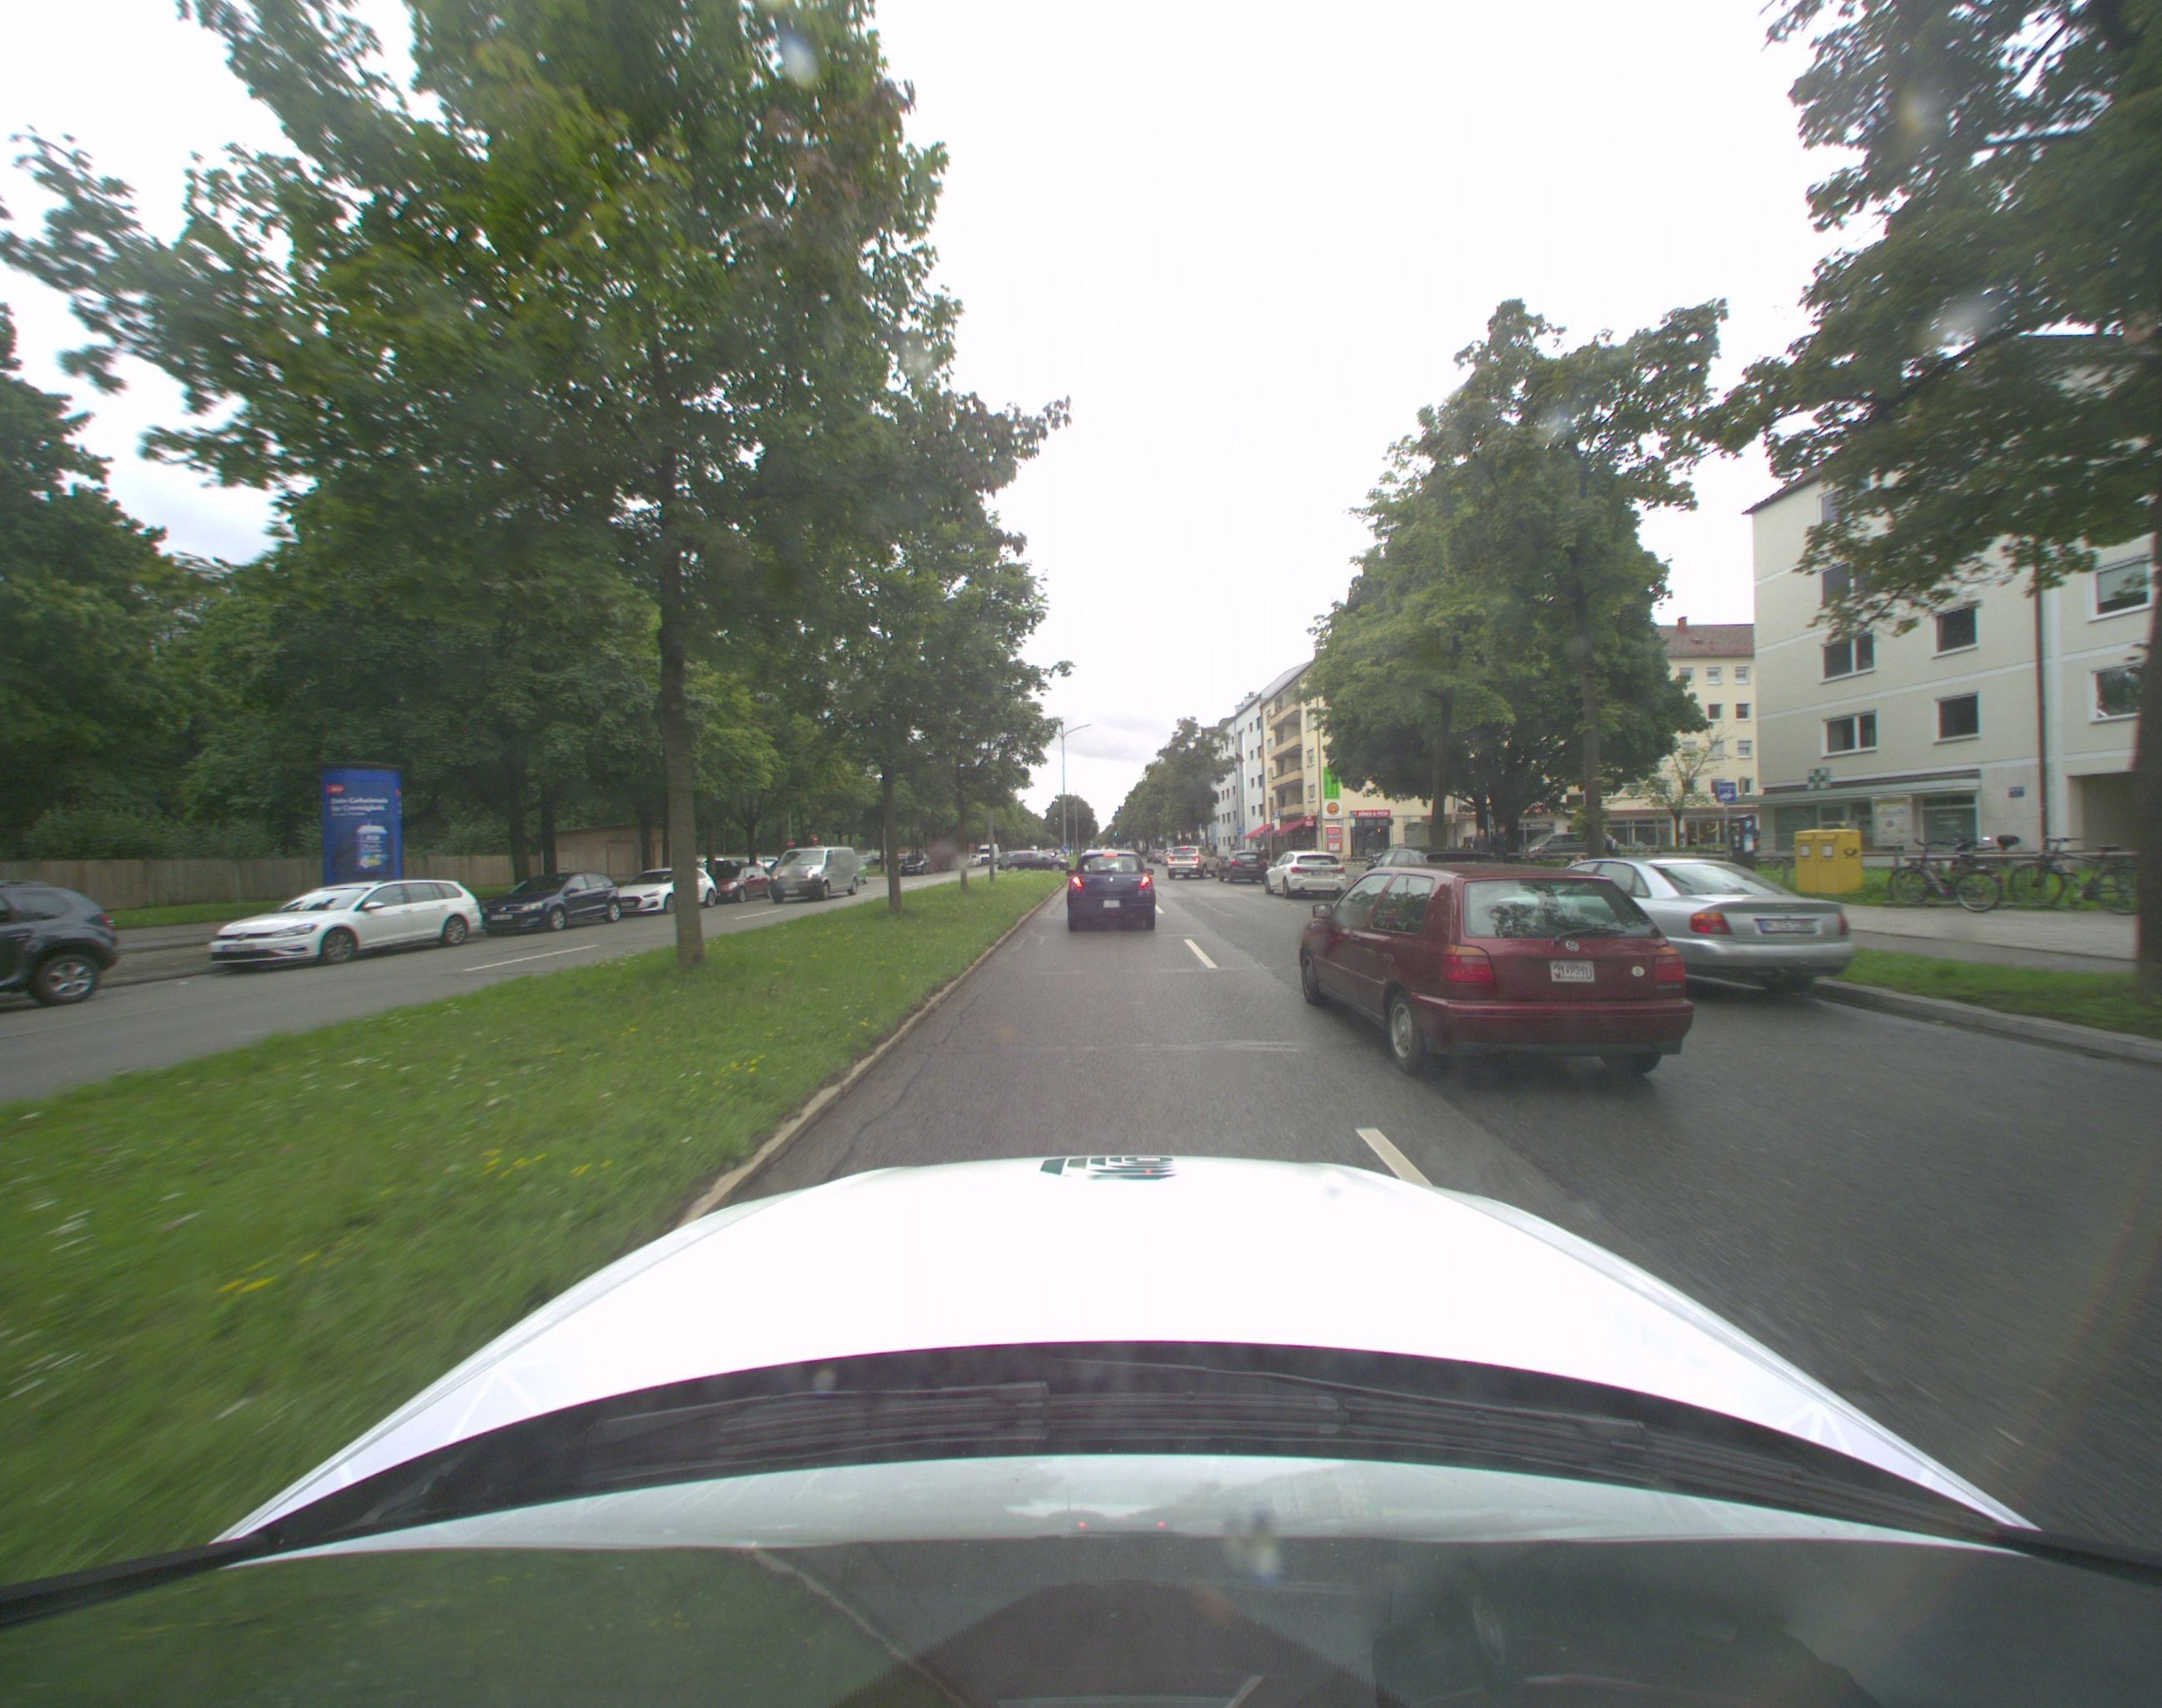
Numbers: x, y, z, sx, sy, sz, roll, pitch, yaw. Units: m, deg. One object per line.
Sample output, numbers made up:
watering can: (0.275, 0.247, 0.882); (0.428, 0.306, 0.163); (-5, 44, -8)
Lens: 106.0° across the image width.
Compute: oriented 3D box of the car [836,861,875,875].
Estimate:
car: (-24.472, 1.567, 88.525); (3.859, 1.445, 1.670); (-1, 0, -4)

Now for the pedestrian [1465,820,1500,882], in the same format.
pedestrian: (12.693, -0.088, 25.766); (0.586, 1.890, 0.902); (-2, 0, 0)

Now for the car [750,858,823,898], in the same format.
car: (-13.507, 1.038, 37.622); (1.685, 1.586, 4.371); (-3, 0, 1)

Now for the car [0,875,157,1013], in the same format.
car: (-14.222, 1.190, 9.569); (1.731, 1.646, 4.256); (-3, 0, 1)

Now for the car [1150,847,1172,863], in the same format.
car: (8.287, 0.072, 84.850); (1.860, 1.517, 4.224); (-2, 0, 0)

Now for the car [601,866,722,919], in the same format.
car: (-13.729, 1.202, 26.956); (1.601, 1.444, 4.281); (-3, 0, 2)

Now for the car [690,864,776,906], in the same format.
car: (-13.617, 1.170, 32.113); (1.584, 1.397, 3.633); (-3, 0, 3)

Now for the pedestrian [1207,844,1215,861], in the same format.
pedestrian: (15.106, -0.165, 94.756); (0.791, 2.013, 1.006); (-1, 0, 2)

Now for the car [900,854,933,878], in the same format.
car: (-12.808, 0.912, 63.449); (1.711, 1.741, 3.879); (-1, 0, 1)

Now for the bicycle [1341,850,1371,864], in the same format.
bicycle: (18.602, 0.216, 55.062); (1.841, 0.957, 0.557); (-1, 0, 0)

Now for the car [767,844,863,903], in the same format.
car: (-9.815, 0.669, 30.524); (1.793, 1.933, 4.994); (-3, 0, 1)

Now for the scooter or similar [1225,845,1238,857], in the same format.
scooter or similar: (17.182, -0.366, 93.145); (1.029, 1.307, 2.757); (-2, 0, 2)

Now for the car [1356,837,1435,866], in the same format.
car: (20.396, -0.172, 52.939); (4.383, 1.661, 1.869); (-2, 0, -4)

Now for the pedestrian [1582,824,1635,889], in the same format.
pedestrian: (13.988, 0.065, 21.616); (0.836, 1.681, 0.835); (-2, 0, 0)

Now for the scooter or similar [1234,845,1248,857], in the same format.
scooter or similar: (17.282, -0.341, 87.796); (1.029, 1.307, 2.757); (-2, 0, 2)

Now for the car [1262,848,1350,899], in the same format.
car: (7.017, 0.560, 25.831); (1.676, 1.465, 4.138); (1, 0, 1)

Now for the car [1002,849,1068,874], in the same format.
car: (-2.984, 0.485, 52.457); (4.115, 1.468, 1.837); (-2, 0, -5)

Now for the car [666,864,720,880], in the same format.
car: (-29.622, 1.373, 62.164); (4.363, 1.201, 1.683); (-1, -1, 33)

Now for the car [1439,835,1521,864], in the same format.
car: (25.877, -0.316, 52.856); (4.381, 1.661, 1.870); (-2, 0, -2)

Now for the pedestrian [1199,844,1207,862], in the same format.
pedestrian: (14.232, -0.135, 94.796); (0.791, 2.013, 1.006); (-1, 0, 2)

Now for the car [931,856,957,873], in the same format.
car: (-12.388, 0.901, 73.788); (1.661, 1.445, 3.879); (-1, 0, 1)

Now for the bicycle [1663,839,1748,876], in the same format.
bicycle: (16.532, 0.093, 21.584); (1.870, 0.973, 0.433); (-1, 0, 2)

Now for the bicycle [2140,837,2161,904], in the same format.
bicycle: (16.913, 0.259, 11.905); (0.429, 1.028, 1.885); (-2, 0, 2)

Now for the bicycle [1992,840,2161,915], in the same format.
bicycle: (15.011, 0.314, 12.292); (0.429, 1.028, 1.885); (-2, 0, 2)

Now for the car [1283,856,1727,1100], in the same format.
car: (2.945, 0.727, 6.683); (1.676, 1.383, 3.920); (0, 0, 1)

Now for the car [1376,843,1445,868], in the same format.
car: (20.319, 0.081, 50.344); (3.532, 1.417, 1.874); (-2, 0, 4)

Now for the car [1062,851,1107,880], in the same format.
car: (0.150, 0.592, 44.900); (1.684, 1.463, 3.717); (-1, 0, -14)

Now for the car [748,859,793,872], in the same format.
car: (-36.331, 1.336, 95.336); (4.673, 1.445, 1.673); (-1, 0, 1)

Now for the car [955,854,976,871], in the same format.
car: (-12.092, 0.909, 85.514); (1.627, 1.741, 3.879); (-1, 0, 1)

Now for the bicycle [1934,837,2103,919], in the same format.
bicycle: (14.105, 0.316, 12.340); (0.429, 1.133, 1.885); (-2, 1, 2)

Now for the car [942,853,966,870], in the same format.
car: (-12.305, 0.687, 79.138); (1.585, 1.558, 3.879); (-1, 0, 1)

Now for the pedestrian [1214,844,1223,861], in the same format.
pedestrian: (15.994, -0.175, 94.786); (0.791, 2.013, 1.006); (-1, 0, 2)

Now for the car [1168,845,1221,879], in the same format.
car: (5.904, 0.363, 42.049); (1.850, 1.661, 4.429); (0, 0, 20)

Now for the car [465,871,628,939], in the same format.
car: (-13.668, 1.237, 21.124); (1.608, 1.417, 3.896); (-3, 0, -1)

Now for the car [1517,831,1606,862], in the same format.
car: (31.355, -0.499, 53.226); (4.720, 1.773, 1.871); (-2, 0, -1)

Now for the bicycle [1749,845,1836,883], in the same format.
bicycle: (18.964, 0.275, 21.724); (1.870, 0.973, 0.433); (-1, -1, 2)

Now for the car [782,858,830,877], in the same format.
car: (-25.635, 1.241, 76.081); (3.911, 1.718, 1.670); (-1, 0, -4)

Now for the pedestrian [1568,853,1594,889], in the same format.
pedestrian: (13.389, 0.445, 21.799); (0.406, 0.949, 0.435); (-2, 0, 0)

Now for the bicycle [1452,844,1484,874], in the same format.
bicycle: (14.784, 0.176, 31.119); (0.380, 1.103, 1.884); (-1, 0, 2)

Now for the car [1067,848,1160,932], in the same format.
car: (0.606, 0.646, 16.862); (1.676, 1.501, 3.919); (-1, 0, 0)

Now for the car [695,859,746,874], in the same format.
car: (-37.412, 1.264, 84.557); (4.489, 1.476, 1.673); (-1, 0, 1)

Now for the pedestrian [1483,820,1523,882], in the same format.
pedestrian: (13.362, -0.103, 25.798); (0.727, 1.889, 0.919); (-2, 0, 0)

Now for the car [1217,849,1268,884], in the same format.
car: (7.142, 0.520, 36.295); (1.611, 1.465, 3.675); (0, 0, 1)

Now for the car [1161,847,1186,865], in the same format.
car: (8.173, 0.150, 72.194); (1.786, 1.558, 4.225); (-2, 0, 1)

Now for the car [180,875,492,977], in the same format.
car: (-14.030, 1.257, 15.808); (1.756, 1.449, 4.534); (-3, 0, 1)

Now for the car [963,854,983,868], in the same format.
car: (-12.048, 0.762, 90.851); (1.627, 1.431, 3.879); (-1, 0, 1)

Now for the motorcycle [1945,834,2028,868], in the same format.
motorcycle: (28.897, -0.091, 26.035); (0.601, 1.023, 1.907); (-1, 0, 2)

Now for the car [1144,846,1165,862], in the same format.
car: (8.063, -0.045, 89.476); (1.860, 1.682, 4.224); (-2, 0, 0)

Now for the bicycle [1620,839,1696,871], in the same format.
bicycle: (17.423, 0.025, 24.618); (1.870, 0.940, 0.558); (0, 0, 2)

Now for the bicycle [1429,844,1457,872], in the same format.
bicycle: (14.832, 0.154, 33.427); (0.387, 1.105, 1.854); (-1, 0, 2)

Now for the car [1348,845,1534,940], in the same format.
car: (6.513, 0.608, 15.280); (1.710, 1.533, 4.277); (0, 0, 2)

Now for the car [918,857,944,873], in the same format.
car: (-12.656, 0.907, 68.896); (1.585, 1.312, 3.381); (-1, 0, 1)

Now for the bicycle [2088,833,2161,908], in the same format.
bicycle: (16.217, 0.248, 12.010); (0.429, 1.101, 1.885); (-2, 0, 2)

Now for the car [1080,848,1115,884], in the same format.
car: (0.699, 0.489, 35.441); (1.439, 1.483, 3.106); (-1, 0, 0)

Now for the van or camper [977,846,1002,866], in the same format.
van or camper: (-11.760, 0.243, 105.036); (2.108, 2.482, 7.453); (-1, 0, 2)

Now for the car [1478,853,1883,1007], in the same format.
car: (6.581, 0.698, 9.644); (1.631, 1.386, 4.242); (0, 0, -1)
